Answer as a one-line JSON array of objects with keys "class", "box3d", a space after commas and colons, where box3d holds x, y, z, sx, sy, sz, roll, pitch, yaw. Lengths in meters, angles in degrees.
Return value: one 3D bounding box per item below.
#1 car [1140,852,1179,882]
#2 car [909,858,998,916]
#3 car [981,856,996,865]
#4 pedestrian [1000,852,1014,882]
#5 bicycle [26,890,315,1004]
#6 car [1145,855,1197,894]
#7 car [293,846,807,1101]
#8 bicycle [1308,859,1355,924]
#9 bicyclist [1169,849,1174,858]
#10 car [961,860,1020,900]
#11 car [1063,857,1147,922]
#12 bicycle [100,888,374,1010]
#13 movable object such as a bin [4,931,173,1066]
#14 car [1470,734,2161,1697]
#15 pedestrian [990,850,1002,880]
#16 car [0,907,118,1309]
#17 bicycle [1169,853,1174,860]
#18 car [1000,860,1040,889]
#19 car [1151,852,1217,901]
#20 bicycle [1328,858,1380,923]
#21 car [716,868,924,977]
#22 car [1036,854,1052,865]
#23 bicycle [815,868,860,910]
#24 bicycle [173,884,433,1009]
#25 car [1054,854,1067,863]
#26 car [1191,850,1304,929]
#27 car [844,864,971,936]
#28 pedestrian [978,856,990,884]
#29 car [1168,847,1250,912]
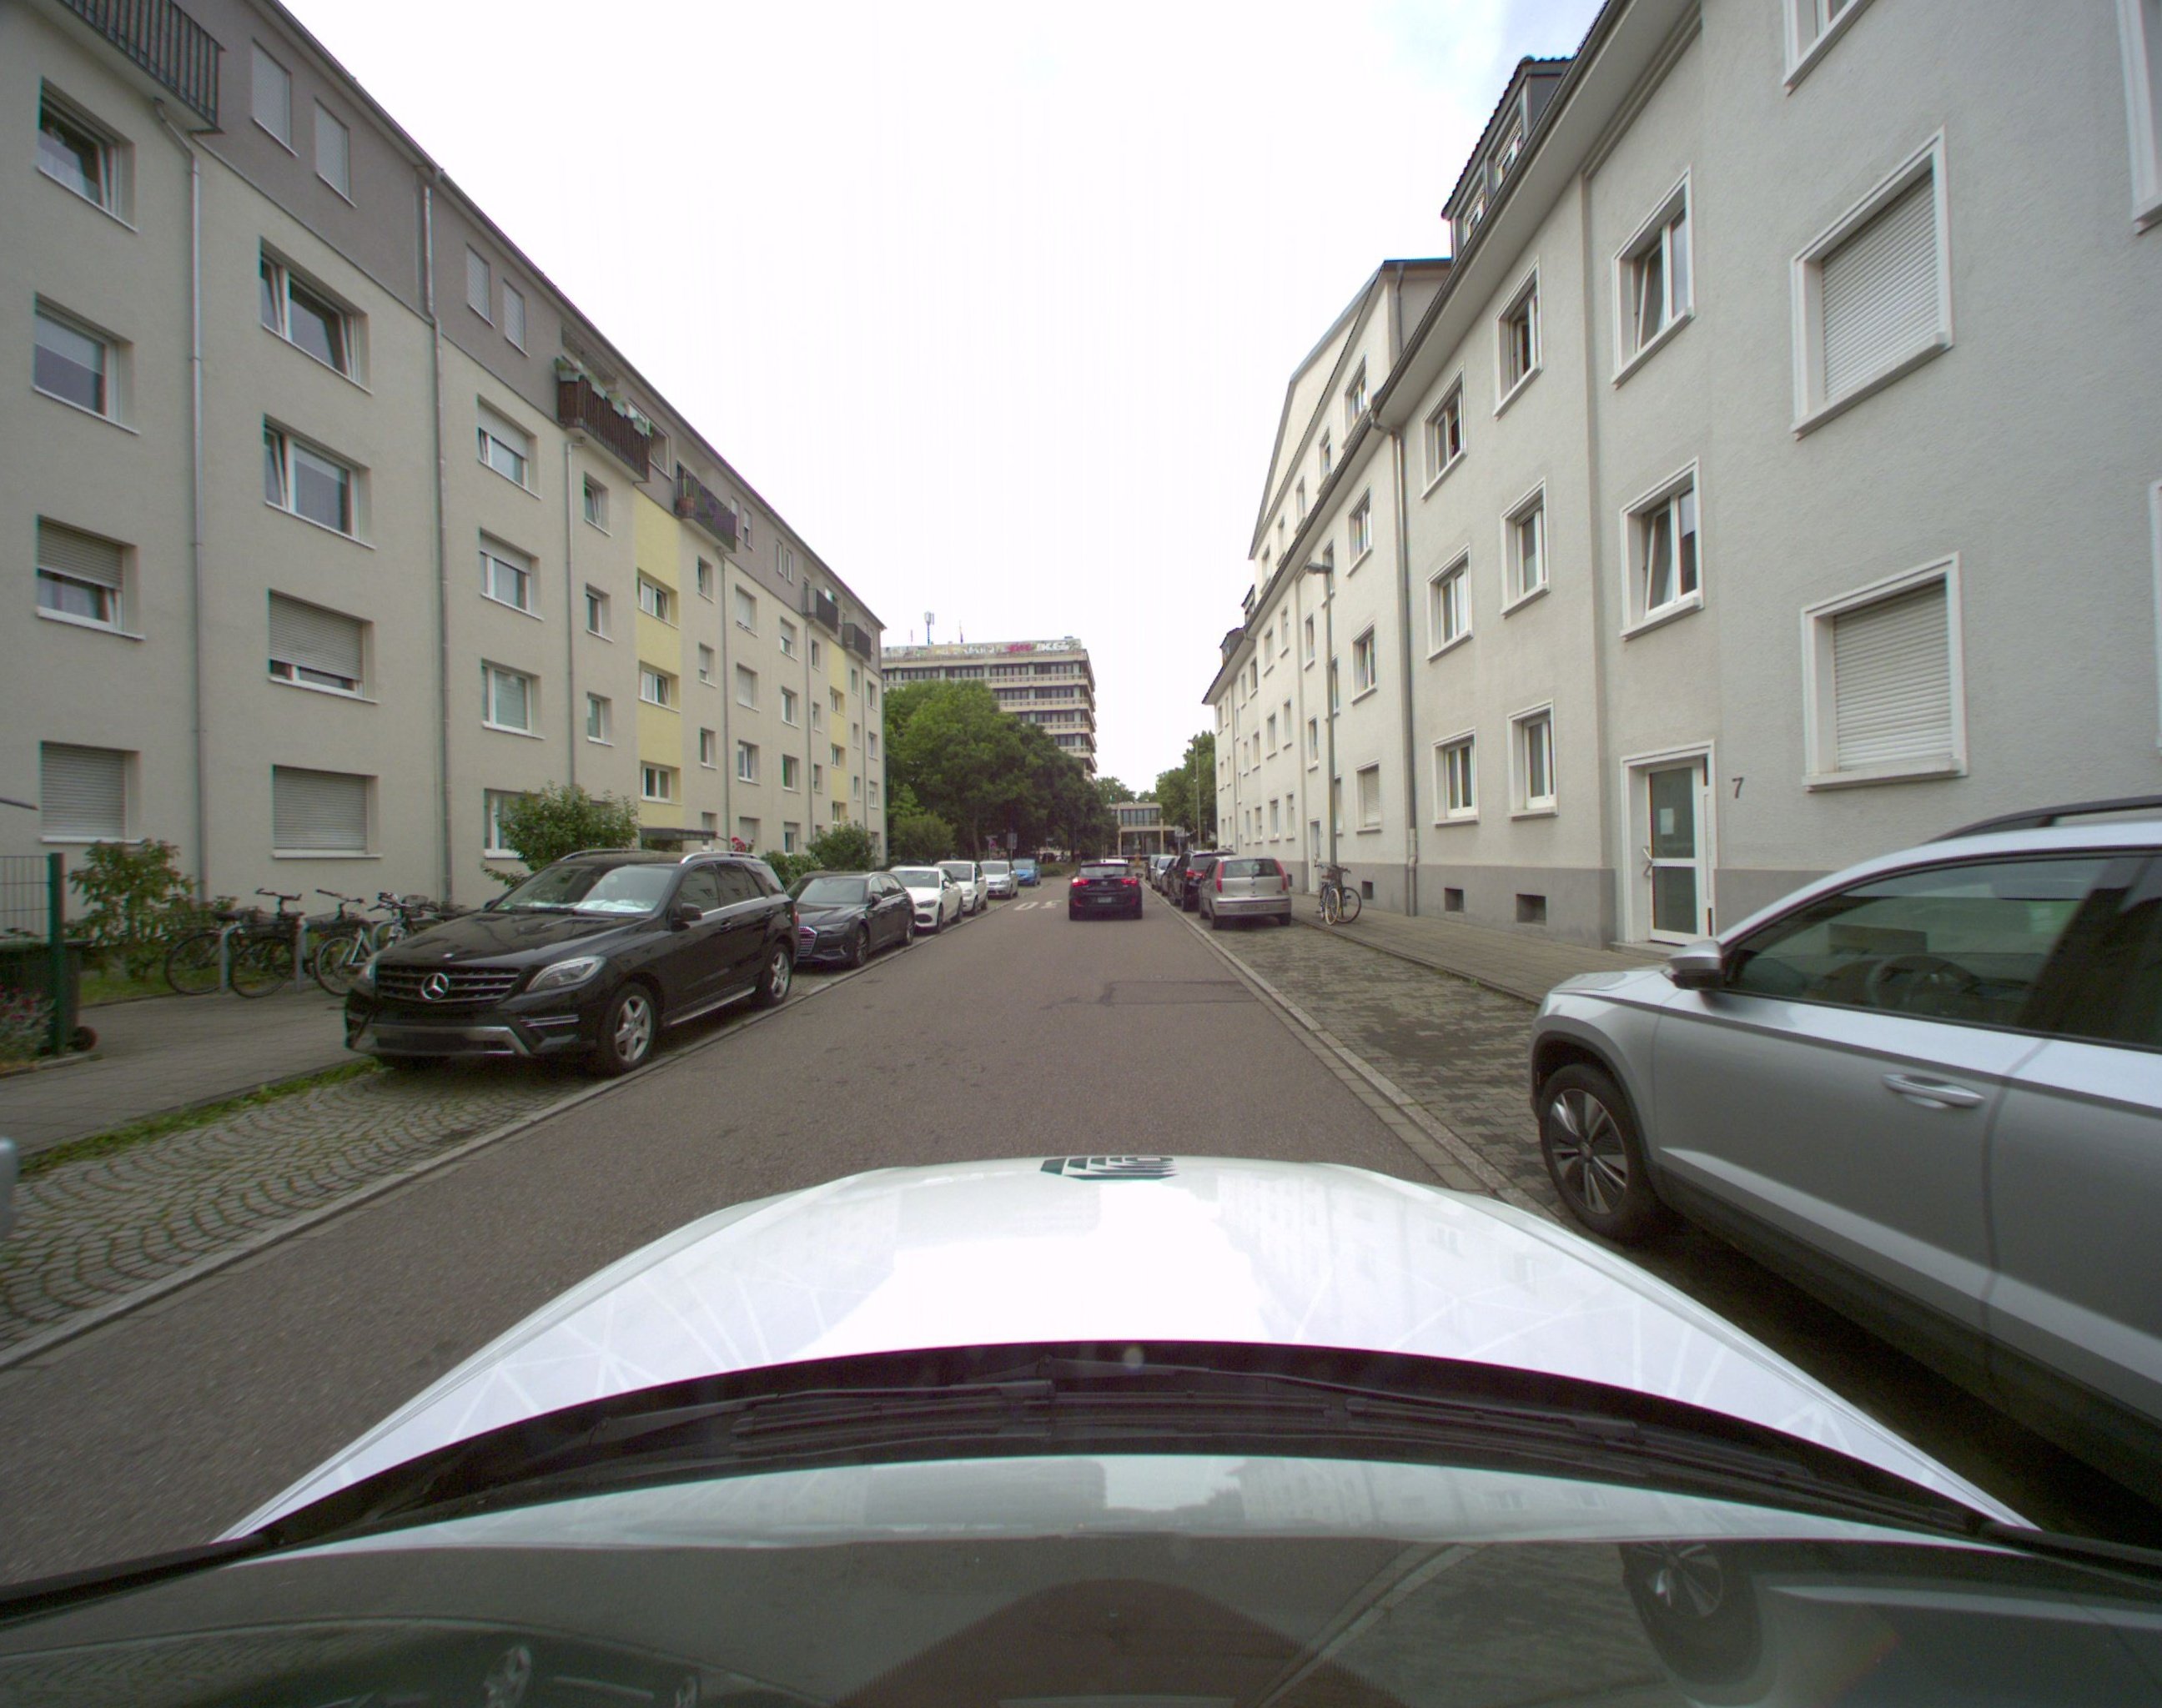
[{"class": "car", "box3d": [4.379, 0.727, 45.917, 1.813, 1.519, 4.675, -3, 0, 2]}, {"class": "car", "box3d": [-3.874, 0.953, 25.538, 1.888, 1.599, 4.523, 1, 0, 2]}, {"class": "car", "box3d": [-13.409, 0.915, 118.277, 1.659, 1.333, 3.397, -1, 0, 2]}, {"class": "pedestrian", "box3d": [-4.533, 0.772, 50.100, 0.711, 1.831, 0.798, -1, 0, 4]}, {"class": "bicycle", "box3d": [-10.905, 1.054, 9.940, 0.785, 1.081, 2.356, -2, 0, 2]}, {"class": "car", "box3d": [3.755, 0.823, 34.642, 1.813, 1.519, 4.675, -2, 0, 2]}, {"class": "car", "box3d": [-4.447, 0.834, 7.899, 1.888, 1.740, 4.477, 1, 0, 2]}, {"class": "bicycle", "box3d": [4.966, 0.714, 16.238, 0.527, 1.175, 2.041, -3, 0, 8]}, {"class": "bicyclist", "box3d": [14.596, -0.099, 130.873, 0.691, 1.444, 0.795, -1, 0, 2]}, {"class": "car", "box3d": [-3.682, 1.025, 33.868, 1.987, 1.541, 3.999, -1, 0, 0]}, {"class": "car", "box3d": [0.662, 0.839, 21.049, 1.895, 1.433, 4.235, -2, 0, 3]}, {"class": "bicycle", "box3d": [-10.063, 1.067, 9.902, 0.785, 1.186, 2.356, -2, 0, 2]}, {"class": "movable object such as a bin", "box3d": [-8.006, 1.144, 6.596, 0.549, 0.954, 0.635, -3, -1, 1]}, {"class": "car", "box3d": [2.753, 0.588, 1.940, 1.813, 1.642, 4.094, -2, 0, 3]}, {"class": "pedestrian", "box3d": [-5.253, 0.664, 50.142, 0.602, 1.831, 0.676, -1, 0, 4]}, {"class": "car", "box3d": [-4.926, 0.945, 1.489, 1.738, 1.465, 3.787, 0, 0, 2]}, {"class": "bicycle", "box3d": [14.600, 0.371, 130.861, 0.690, 0.997, 1.736, -1, 0, 3]}, {"class": "car", "box3d": [-3.403, 1.107, 46.169, 1.987, 1.541, 3.999, -1, 0, 0]}, {"class": "car", "box3d": [3.540, 0.738, 28.747, 1.814, 1.519, 4.675, -2, 0, 1]}, {"class": "bicycle", "box3d": [5.396, 0.694, 16.192, 0.573, 1.175, 2.041, -3, 0, 8]}, {"class": "car", "box3d": [-4.177, 1.014, 13.951, 1.888, 1.452, 4.668, 1, 0, 2]}, {"class": "car", "box3d": [-4.736, 0.679, 104.473, 1.659, 1.333, 3.397, -1, 0, 2]}, {"class": "bicycle", "box3d": [-7.757, 1.091, 25.993, 0.728, 1.211, 2.091, -1, 0, 2]}, {"class": "bicycle", "box3d": [-9.231, 1.035, 9.854, 0.785, 1.212, 2.356, -2, 0, 2]}, {"class": "car", "box3d": [-3.007, 0.619, 117.874, 1.659, 1.333, 3.397, -1, 0, 2]}, {"class": "car", "box3d": [3.556, 0.704, 18.102, 1.813, 1.503, 4.094, -2, 0, 3]}, {"class": "car", "box3d": [-3.950, 0.985, 19.397, 1.888, 1.452, 4.523, 1, 0, 2]}, {"class": "pedestrian", "box3d": [-5.935, 0.985, 49.690, 0.598, 1.713, 0.649, -1, 0, 4]}, {"class": "car", "box3d": [3.493, 0.657, 22.877, 1.813, 1.603, 4.094, -2, 0, 3]}]
